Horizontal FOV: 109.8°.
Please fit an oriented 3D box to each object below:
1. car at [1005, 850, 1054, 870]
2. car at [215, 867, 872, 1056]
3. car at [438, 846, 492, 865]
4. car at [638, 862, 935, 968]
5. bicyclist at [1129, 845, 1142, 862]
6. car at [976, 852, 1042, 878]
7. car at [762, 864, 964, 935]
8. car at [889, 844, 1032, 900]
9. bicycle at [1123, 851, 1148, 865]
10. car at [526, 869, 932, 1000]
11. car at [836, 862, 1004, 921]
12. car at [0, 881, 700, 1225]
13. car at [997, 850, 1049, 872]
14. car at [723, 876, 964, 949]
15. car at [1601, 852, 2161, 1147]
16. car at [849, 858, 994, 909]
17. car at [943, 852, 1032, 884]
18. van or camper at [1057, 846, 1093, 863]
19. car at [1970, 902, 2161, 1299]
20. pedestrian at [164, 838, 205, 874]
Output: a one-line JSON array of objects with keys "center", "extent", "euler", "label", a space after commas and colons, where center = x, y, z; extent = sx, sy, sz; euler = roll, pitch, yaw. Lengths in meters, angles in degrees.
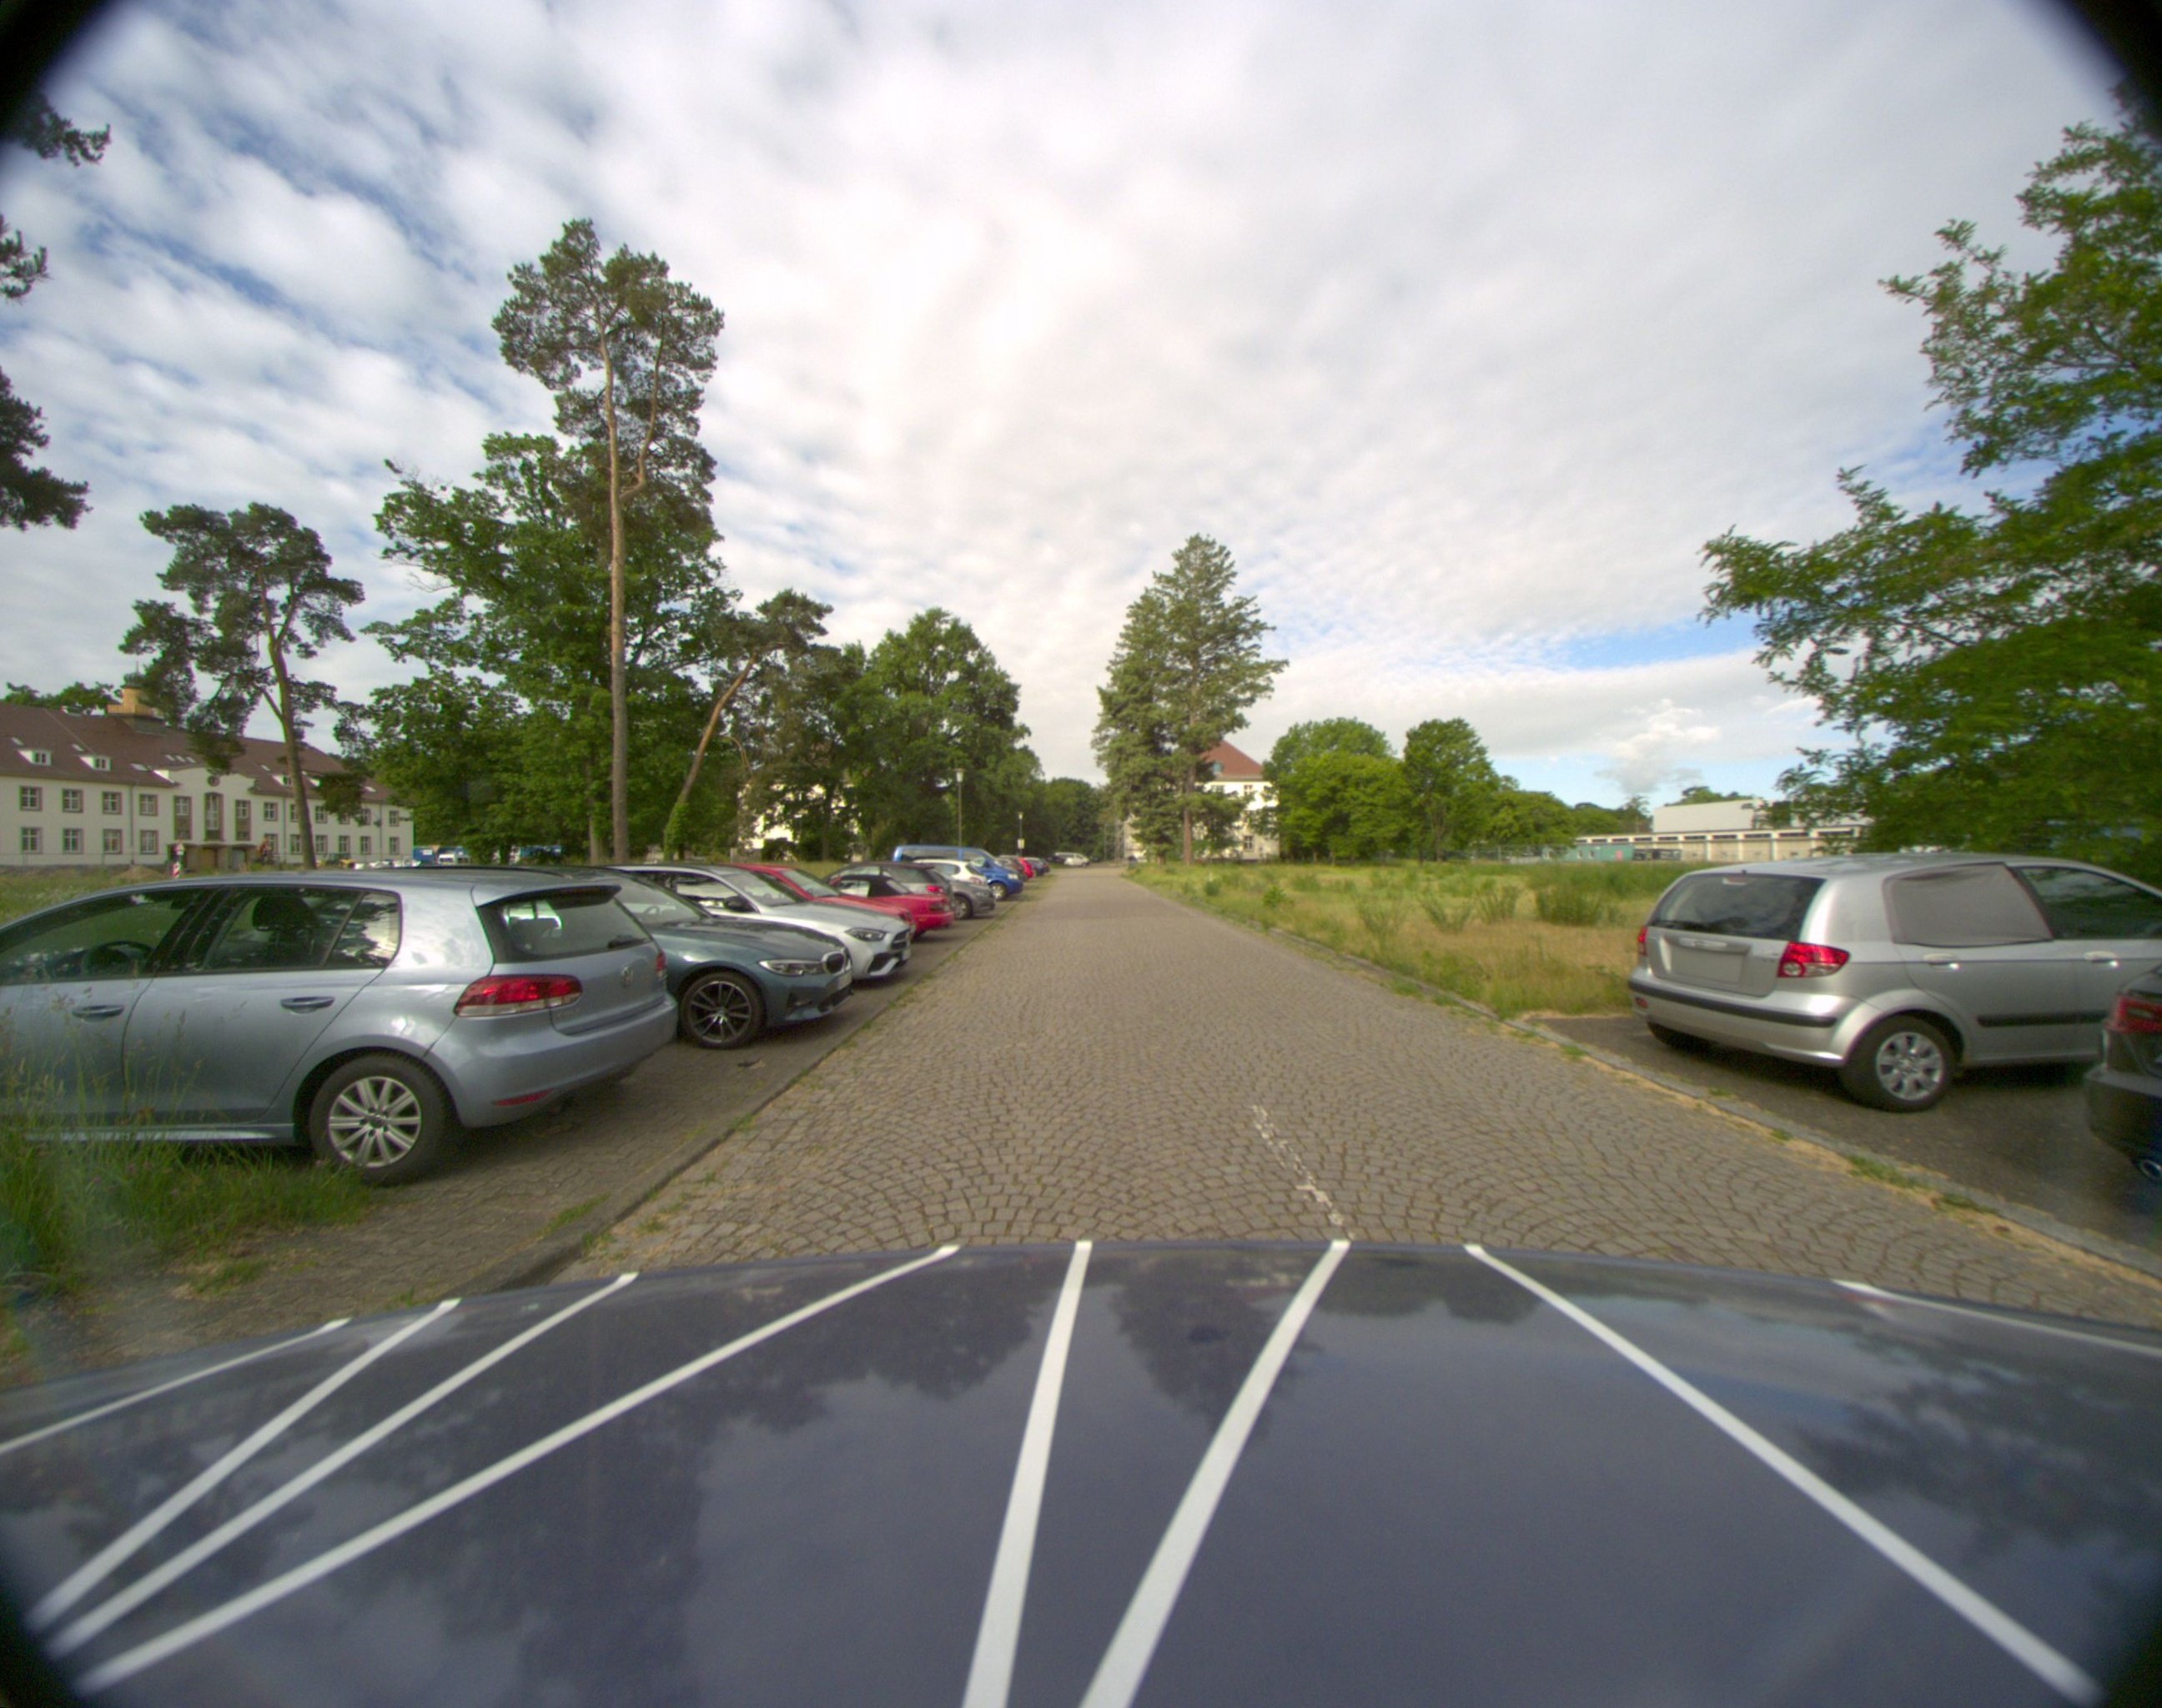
[{"center": [-4.150, 0.474, 61.917], "extent": [3.791, 1.615, 2.000], "euler": [0, 1, 2], "label": "car"}, {"center": [-4.459, 0.861, 6.850], "extent": [4.630, 1.437, 1.796], "euler": [0, 1, 0], "label": "car"}, {"center": [-68.285, 0.161, 84.315], "extent": [2.166, 2.002, 4.833], "euler": [0, 0, -2], "label": "car"}, {"center": [-4.454, 0.891, 11.918], "extent": [3.932, 1.504, 1.797], "euler": [0, 1, 3], "label": "car"}, {"center": [5.983, -0.027, 83.317], "extent": [1.318, 1.857, 1.250], "euler": [0, 1, 5], "label": "bicyclist"}, {"center": [-4.407, 0.667, 47.128], "extent": [3.998, 1.560, 1.999], "euler": [0, 1, -3], "label": "car"}, {"center": [-4.721, 0.968, 16.863], "extent": [3.932, 1.467, 1.797], "euler": [0, 1, 1], "label": "car"}, {"center": [-4.339, 0.627, 27.900], "extent": [4.839, 2.002, 2.000], "euler": [0, 1, 4], "label": "car"}, {"center": [5.974, 0.450, 83.302], "extent": [2.673, 1.496, 1.273], "euler": [0, 1, 5], "label": "bicycle"}, {"center": [-4.206, 0.926, 9.558], "extent": [4.266, 1.437, 1.797], "euler": [0, 1, 3], "label": "car"}, {"center": [-4.056, 0.924, 19.619], "extent": [3.933, 1.427, 1.796], "euler": [0, 1, 0], "label": "car"}, {"center": [-4.564, 0.891, 4.200], "extent": [3.997, 1.410, 1.797], "euler": [0, 1, 1], "label": "car"}, {"center": [-4.350, 0.517, 57.438], "extent": [3.791, 1.560, 2.000], "euler": [0, 1, 2], "label": "car"}, {"center": [-4.328, 1.055, 14.280], "extent": [3.932, 1.227, 1.797], "euler": [0, 1, 1], "label": "car"}, {"center": [6.076, 0.804, 5.178], "extent": [3.985, 1.448, 1.680], "euler": [-3, 1, -4], "label": "car"}, {"center": [-4.682, 0.860, 22.670], "extent": [3.933, 1.441, 1.796], "euler": [0, 1, 0], "label": "car"}, {"center": [-4.489, 0.679, 36.834], "extent": [3.996, 1.496, 1.869], "euler": [0, 1, 2], "label": "car"}, {"center": [-0.908, 0.039, 110.948], "extent": [5.248, 2.449, 2.208], "euler": [0, 1, -2], "label": "van or camper"}, {"center": [6.299, 0.927, 2.529], "extent": [4.632, 1.414, 1.884], "euler": [0, 1, -3], "label": "car"}, {"center": [-54.687, 0.112, 46.367], "extent": [1.184, 2.165, 1.056], "euler": [0, 1, 0], "label": "pedestrian"}]
